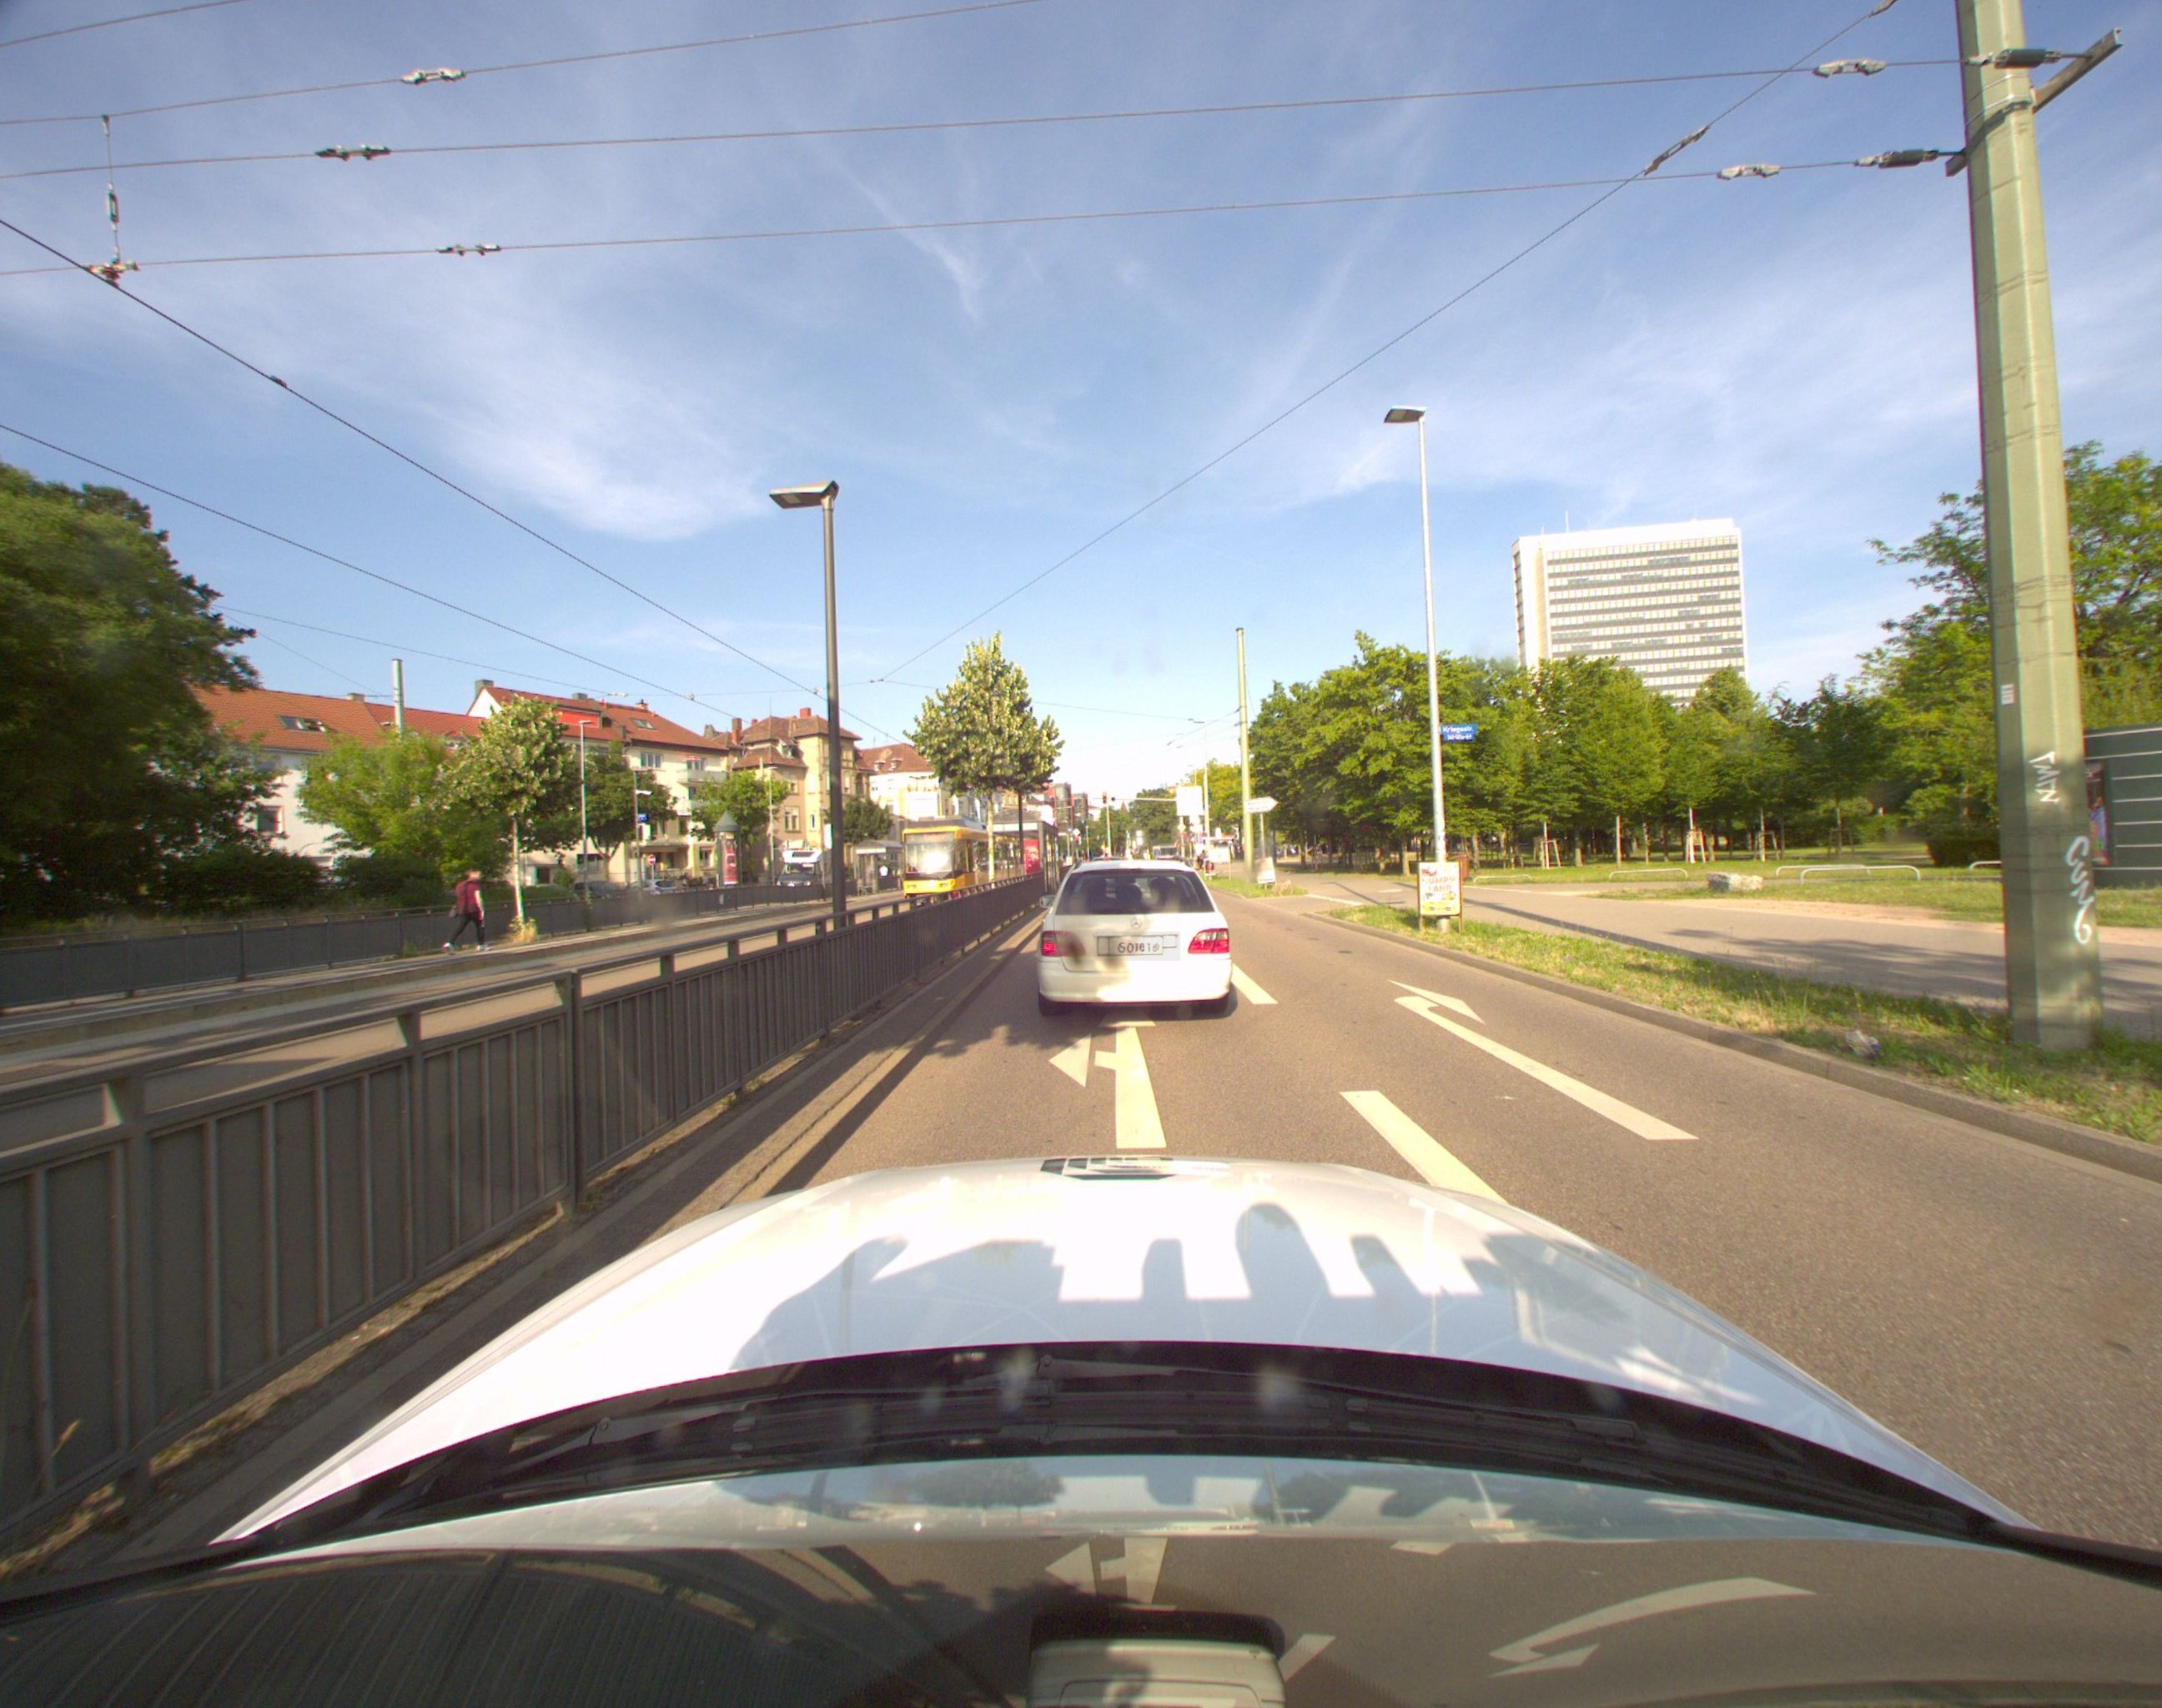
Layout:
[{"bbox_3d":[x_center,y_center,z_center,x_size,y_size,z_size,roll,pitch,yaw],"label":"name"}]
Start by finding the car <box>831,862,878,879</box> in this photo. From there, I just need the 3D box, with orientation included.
[{"bbox_3d":[-23.737,1.698,85.598,2.183,1.628,4.744,-2,0,25],"label":"car"}]

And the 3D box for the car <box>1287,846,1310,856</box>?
[{"bbox_3d":[41.623,-0.554,155.778,4.007,1.651,1.983,-3,-1,-25],"label":"car"}]

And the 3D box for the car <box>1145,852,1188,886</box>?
[{"bbox_3d":[4.432,0.753,42.209,2.023,1.605,4.007,-2,0,6],"label":"car"}]

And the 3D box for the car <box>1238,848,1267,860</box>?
[{"bbox_3d":[27.055,-0.035,128.604,3.949,1.651,2.012,-3,-1,27],"label":"car"}]

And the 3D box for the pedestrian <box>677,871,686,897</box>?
[{"bbox_3d":[-31.297,2.359,63.856,0.379,2.013,0.410,-2,0,20],"label":"pedestrian"}]

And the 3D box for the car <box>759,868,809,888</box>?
[{"bbox_3d":[-28.115,2.273,77.159,3.954,1.750,2.010,-2,0,19],"label":"car"}]

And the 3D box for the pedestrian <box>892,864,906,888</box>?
[{"bbox_3d":[-13.741,1.645,61.435,0.886,1.753,0.743,-2,0,-9],"label":"pedestrian"}]

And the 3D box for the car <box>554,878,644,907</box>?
[{"bbox_3d":[-26.139,2.100,44.192,3.956,1.398,2.009,-2,0,16],"label":"car"}]

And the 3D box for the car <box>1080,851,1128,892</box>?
[{"bbox_3d":[1.101,0.734,36.467,1.778,1.690,4.007,-2,0,6],"label":"car"}]

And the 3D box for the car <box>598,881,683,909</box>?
[{"bbox_3d":[-25.305,2.339,46.814,3.956,1.398,2.009,-2,0,16],"label":"car"}]

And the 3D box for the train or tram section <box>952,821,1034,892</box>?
[{"bbox_3d":[-4.851,0.118,47.923,2.838,3.479,13.206,-2,0,2],"label":"train or tram section"}]

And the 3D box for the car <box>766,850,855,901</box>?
[{"bbox_3d":[-15.887,1.177,48.453,2.587,2.735,7.470,-2,0,1],"label":"car"}]

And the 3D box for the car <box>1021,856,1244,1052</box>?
[{"bbox_3d":[0.486,0.829,8.695,1.752,1.503,4.002,-3,0,2],"label":"car"}]

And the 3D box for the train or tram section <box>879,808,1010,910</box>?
[{"bbox_3d":[-5.352,0.149,34.991,2.838,3.479,13.206,-1,0,2],"label":"train or tram section"}]

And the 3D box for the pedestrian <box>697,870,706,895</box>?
[{"bbox_3d":[-31.424,2.358,67.394,0.417,2.013,0.436,-2,0,20],"label":"pedestrian"}]

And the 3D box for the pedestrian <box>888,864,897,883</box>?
[{"bbox_3d":[-18.145,1.897,78.402,0.662,1.753,0.747,-2,0,5],"label":"pedestrian"}]

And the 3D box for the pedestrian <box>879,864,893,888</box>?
[{"bbox_3d":[-14.649,1.679,61.281,0.886,1.753,0.743,-2,0,-9],"label":"pedestrian"}]

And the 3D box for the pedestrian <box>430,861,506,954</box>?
[{"bbox_3d":[-12.018,1.028,15.989,0.832,1.733,0.772,-3,0,2],"label":"pedestrian"}]
